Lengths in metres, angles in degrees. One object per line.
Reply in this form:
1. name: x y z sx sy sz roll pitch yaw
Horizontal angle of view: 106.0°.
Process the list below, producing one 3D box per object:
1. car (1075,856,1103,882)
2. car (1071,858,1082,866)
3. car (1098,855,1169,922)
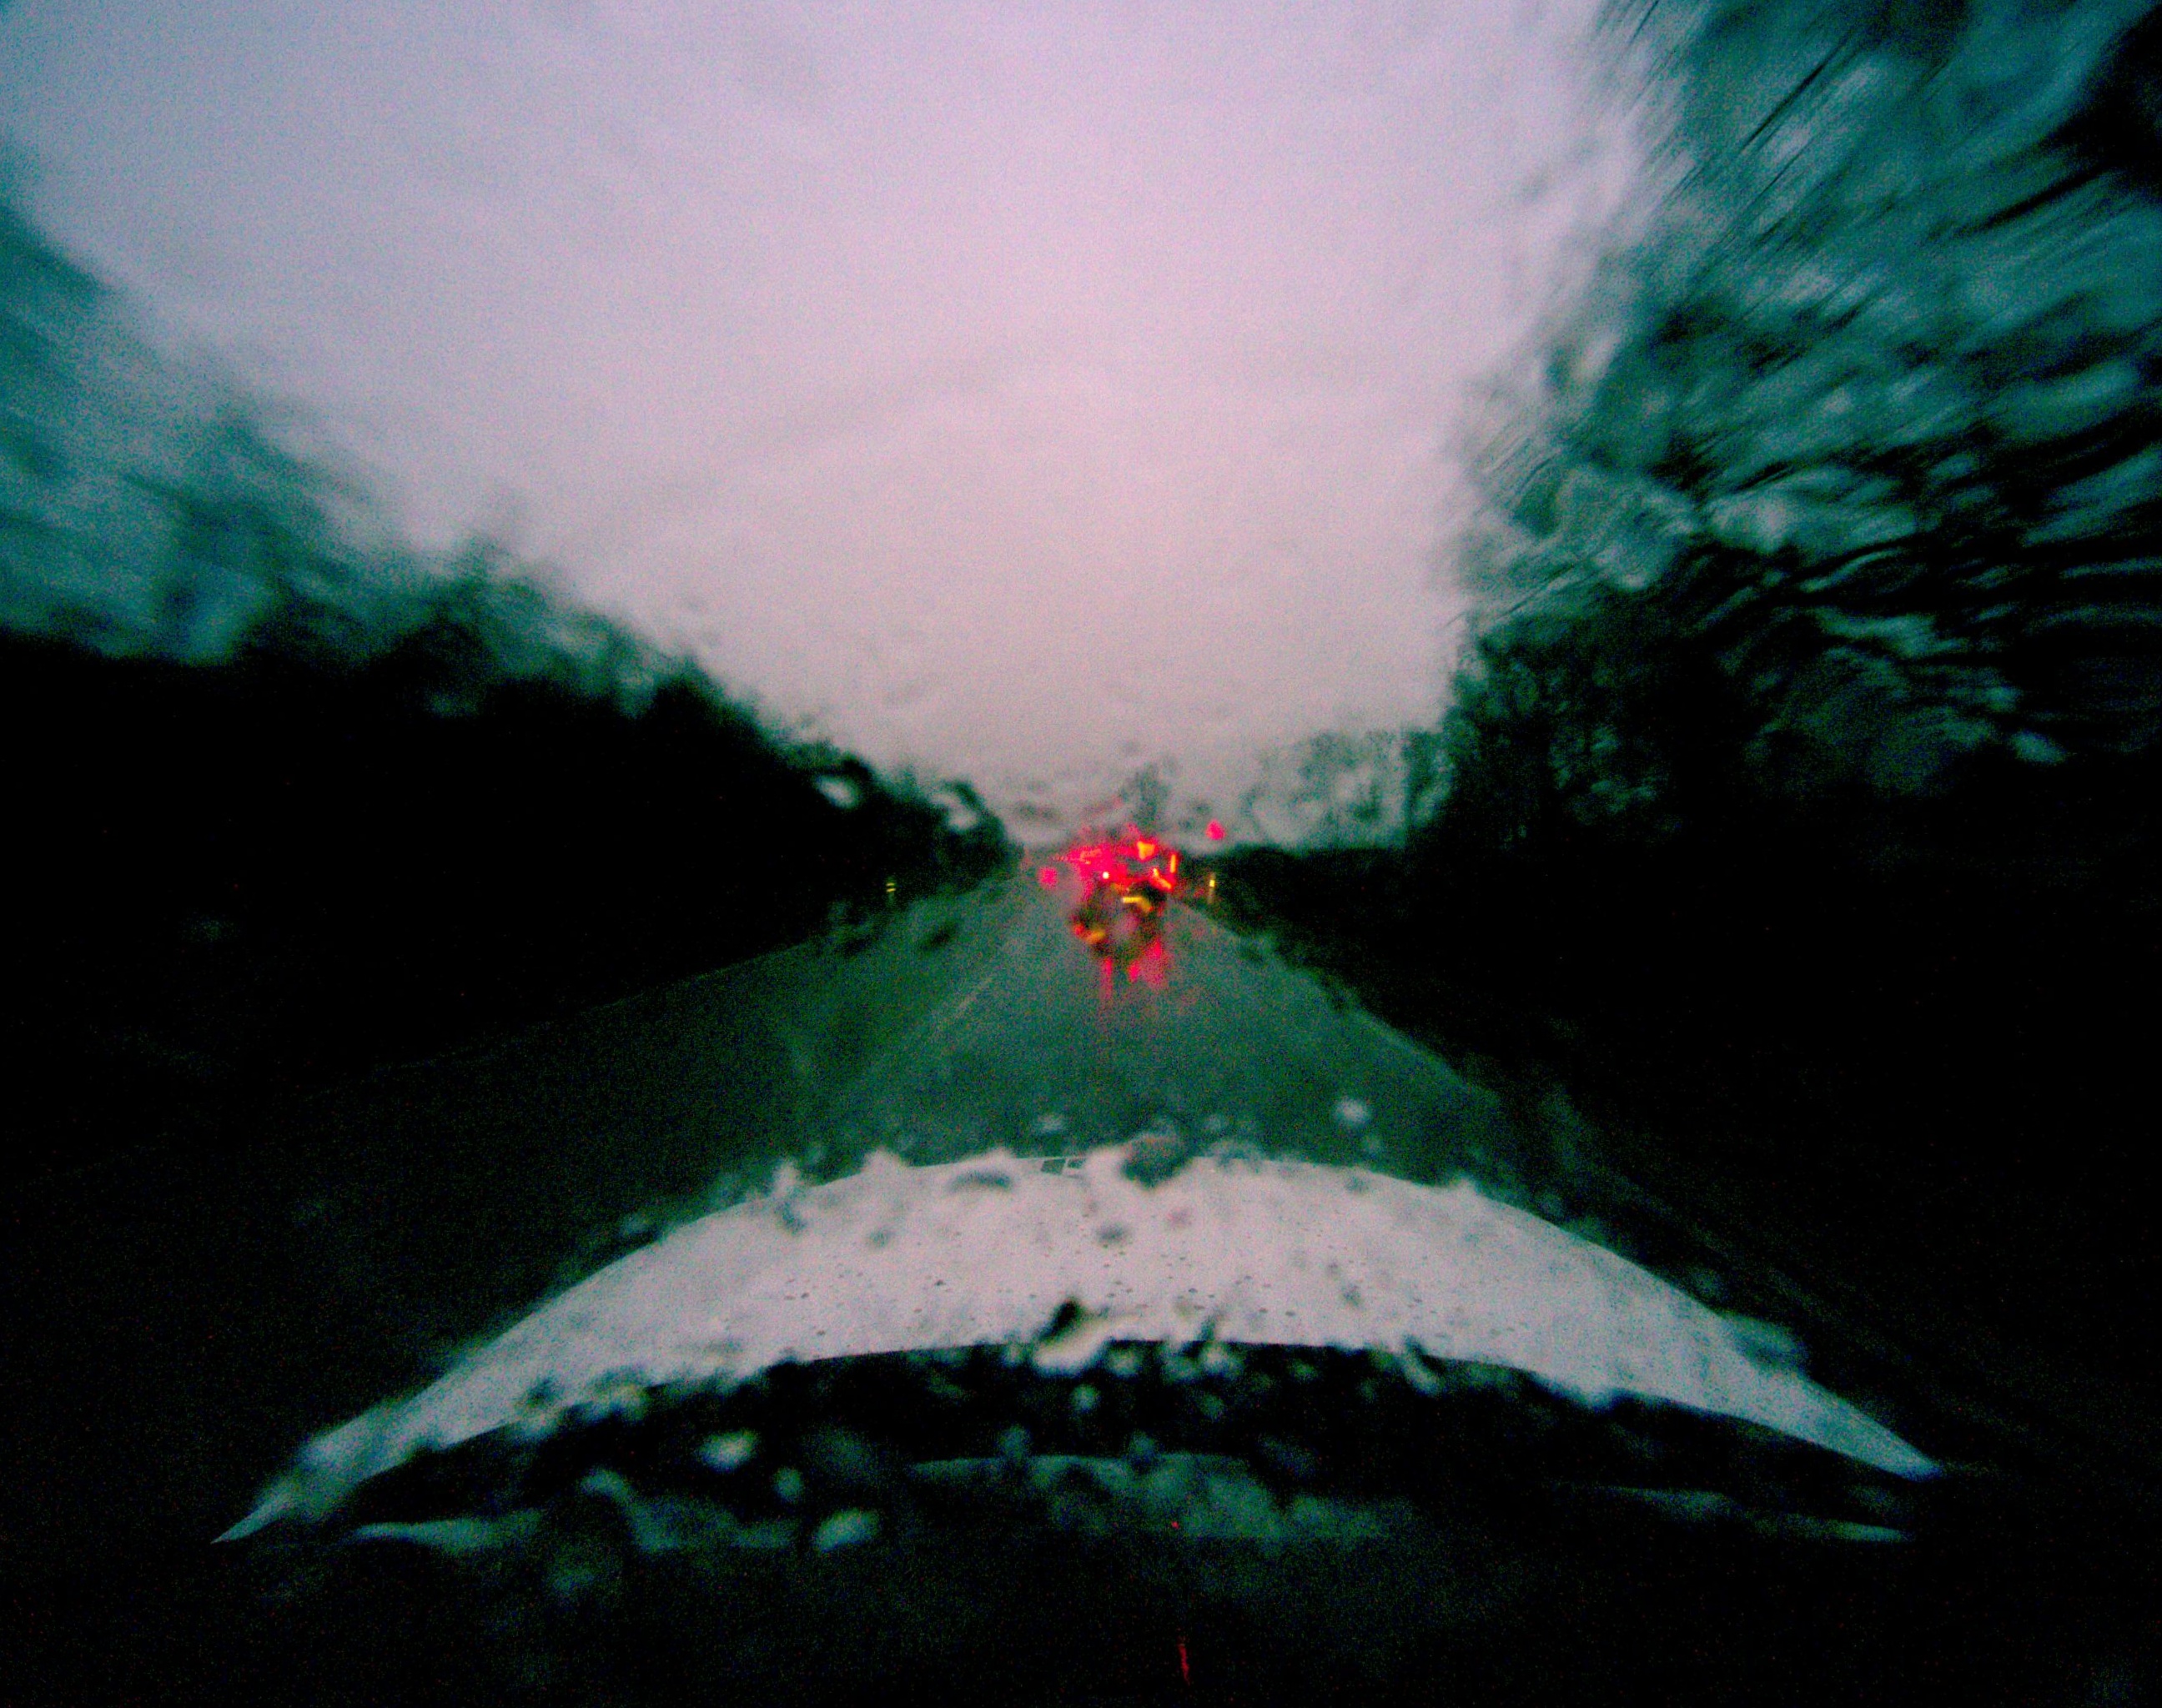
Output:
1. car: 0.516 0.852 47.088 1.541 1.397 3.870 -1 0 1
2. car: -0.702 1.322 137.735 1.540 1.397 3.874 -1 0 4
3. car: 1.303 0.786 20.427 1.595 1.522 3.872 -1 0 3
